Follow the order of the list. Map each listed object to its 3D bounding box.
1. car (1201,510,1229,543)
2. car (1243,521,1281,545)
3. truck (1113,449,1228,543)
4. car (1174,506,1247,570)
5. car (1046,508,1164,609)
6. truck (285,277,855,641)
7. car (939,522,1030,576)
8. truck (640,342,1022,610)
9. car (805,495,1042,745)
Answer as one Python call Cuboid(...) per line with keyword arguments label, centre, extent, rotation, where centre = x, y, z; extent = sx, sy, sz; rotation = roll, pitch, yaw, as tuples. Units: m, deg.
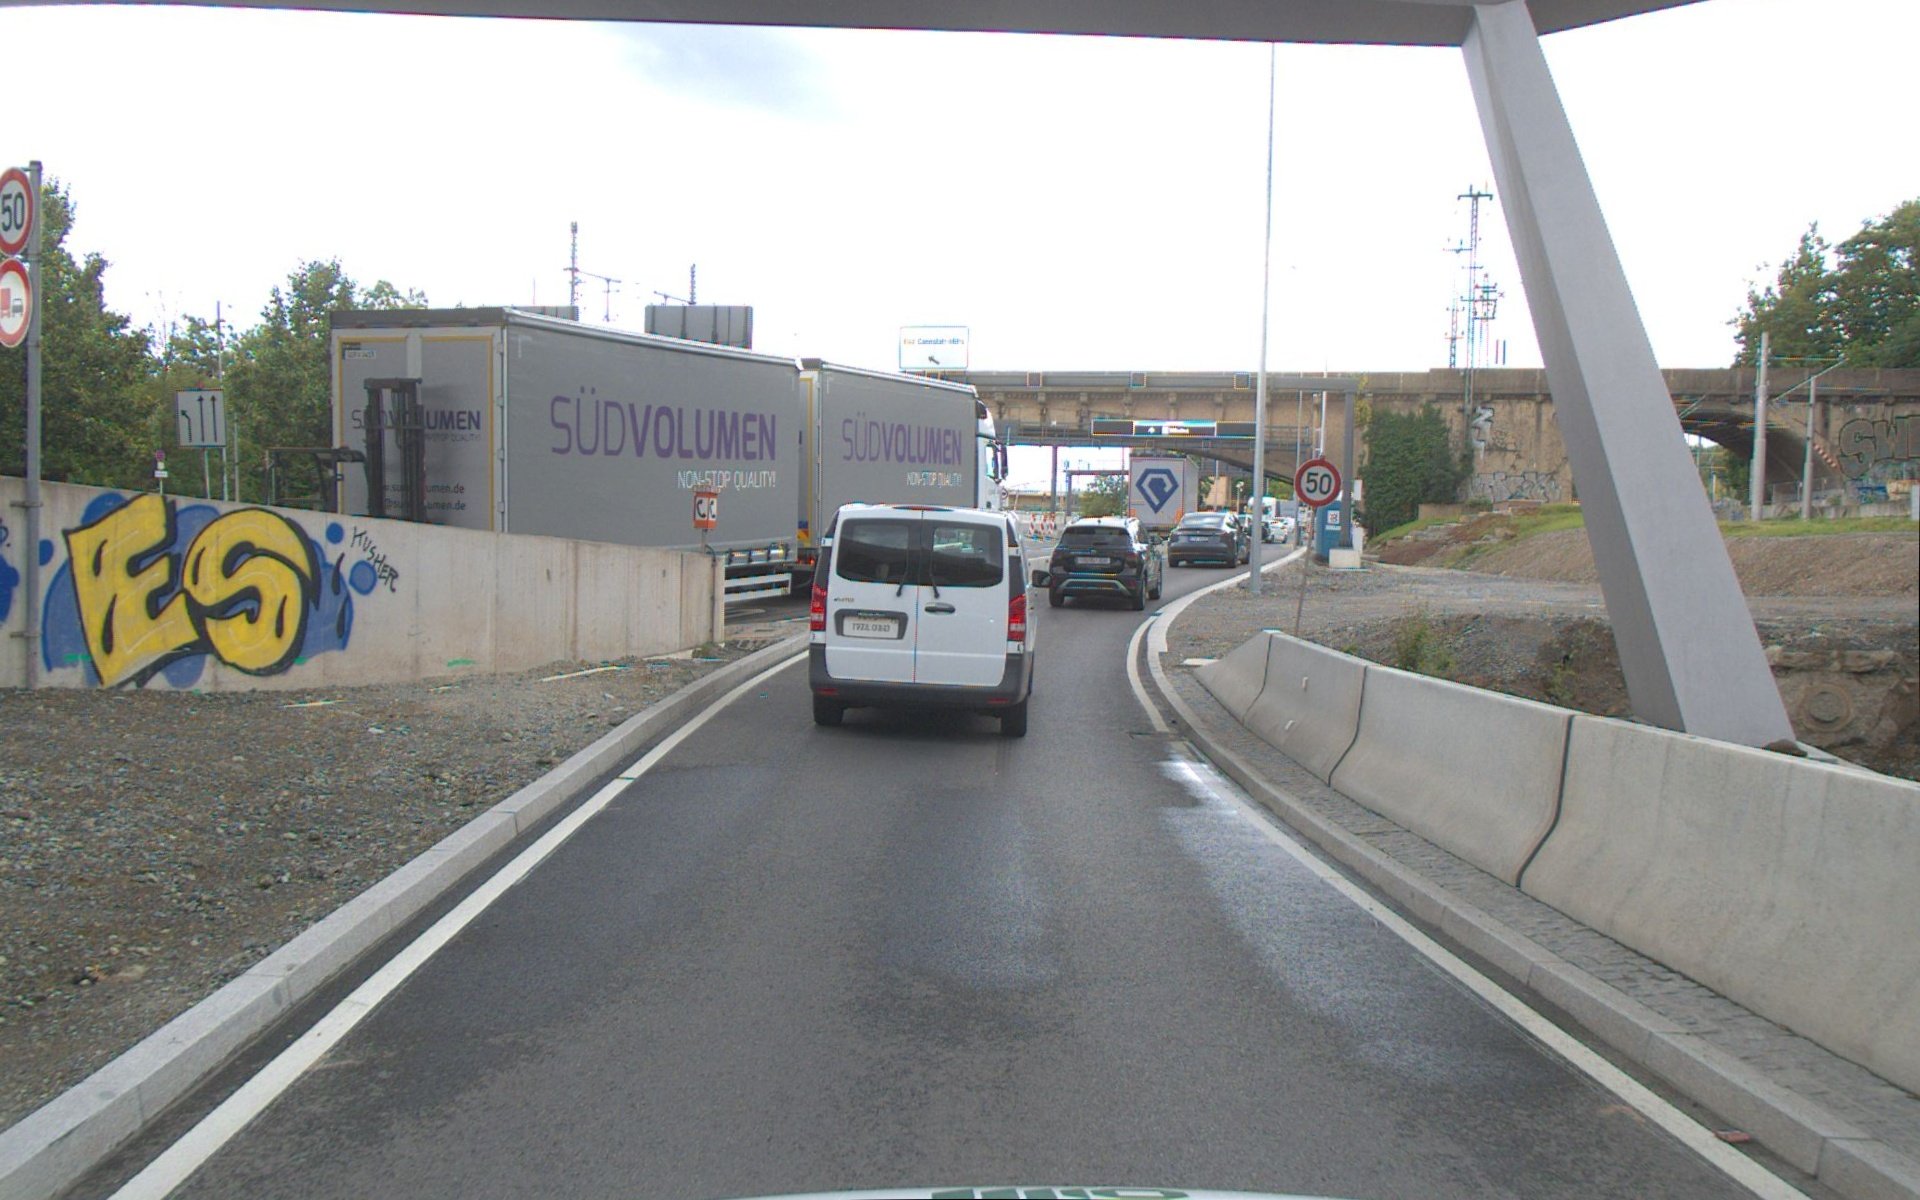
Cuboid(label="car", centre=(18.458, -5.288, 119.682), extent=(1.858, 2.152, 4.489), rotation=(3, 1, 9))
Cuboid(label="car", centre=(26.093, -5.756, 142.675), extent=(1.862, 1.840, 4.478), rotation=(4, 1, 28))
Cuboid(label="truck", centre=(10.399, -4.886, 79.573), extent=(3.247, 3.874, 16.611), rotation=(4, 4, 14))
Cuboid(label="car", centre=(6.793, -1.711, 44.683), extent=(1.469, 1.493, 3.403), rotation=(3, 5, 16))
Cuboid(label="car", centre=(2.742, -0.821, 30.631), extent=(1.712, 1.653, 3.849), rotation=(4, 3, 11))
Cuboid(label="truck", centre=(-4.913, -1.956, 23.885), extent=(2.858, 4.085, 10.207), rotation=(3, 4, 20))
Cuboid(label="car", centre=(0.840, -1.642, 54.130), extent=(1.952, 1.579, 4.003), rotation=(3, 1, 16))
Cuboid(label="truck", centre=(-1.971, -2.393, 32.071), extent=(2.926, 4.246, 11.247), rotation=(3, 5, 20))
Cuboid(label="car", centre=(-0.180, 0.089, 15.342), extent=(1.837, 1.924, 4.755), rotation=(1, 2, 3))
